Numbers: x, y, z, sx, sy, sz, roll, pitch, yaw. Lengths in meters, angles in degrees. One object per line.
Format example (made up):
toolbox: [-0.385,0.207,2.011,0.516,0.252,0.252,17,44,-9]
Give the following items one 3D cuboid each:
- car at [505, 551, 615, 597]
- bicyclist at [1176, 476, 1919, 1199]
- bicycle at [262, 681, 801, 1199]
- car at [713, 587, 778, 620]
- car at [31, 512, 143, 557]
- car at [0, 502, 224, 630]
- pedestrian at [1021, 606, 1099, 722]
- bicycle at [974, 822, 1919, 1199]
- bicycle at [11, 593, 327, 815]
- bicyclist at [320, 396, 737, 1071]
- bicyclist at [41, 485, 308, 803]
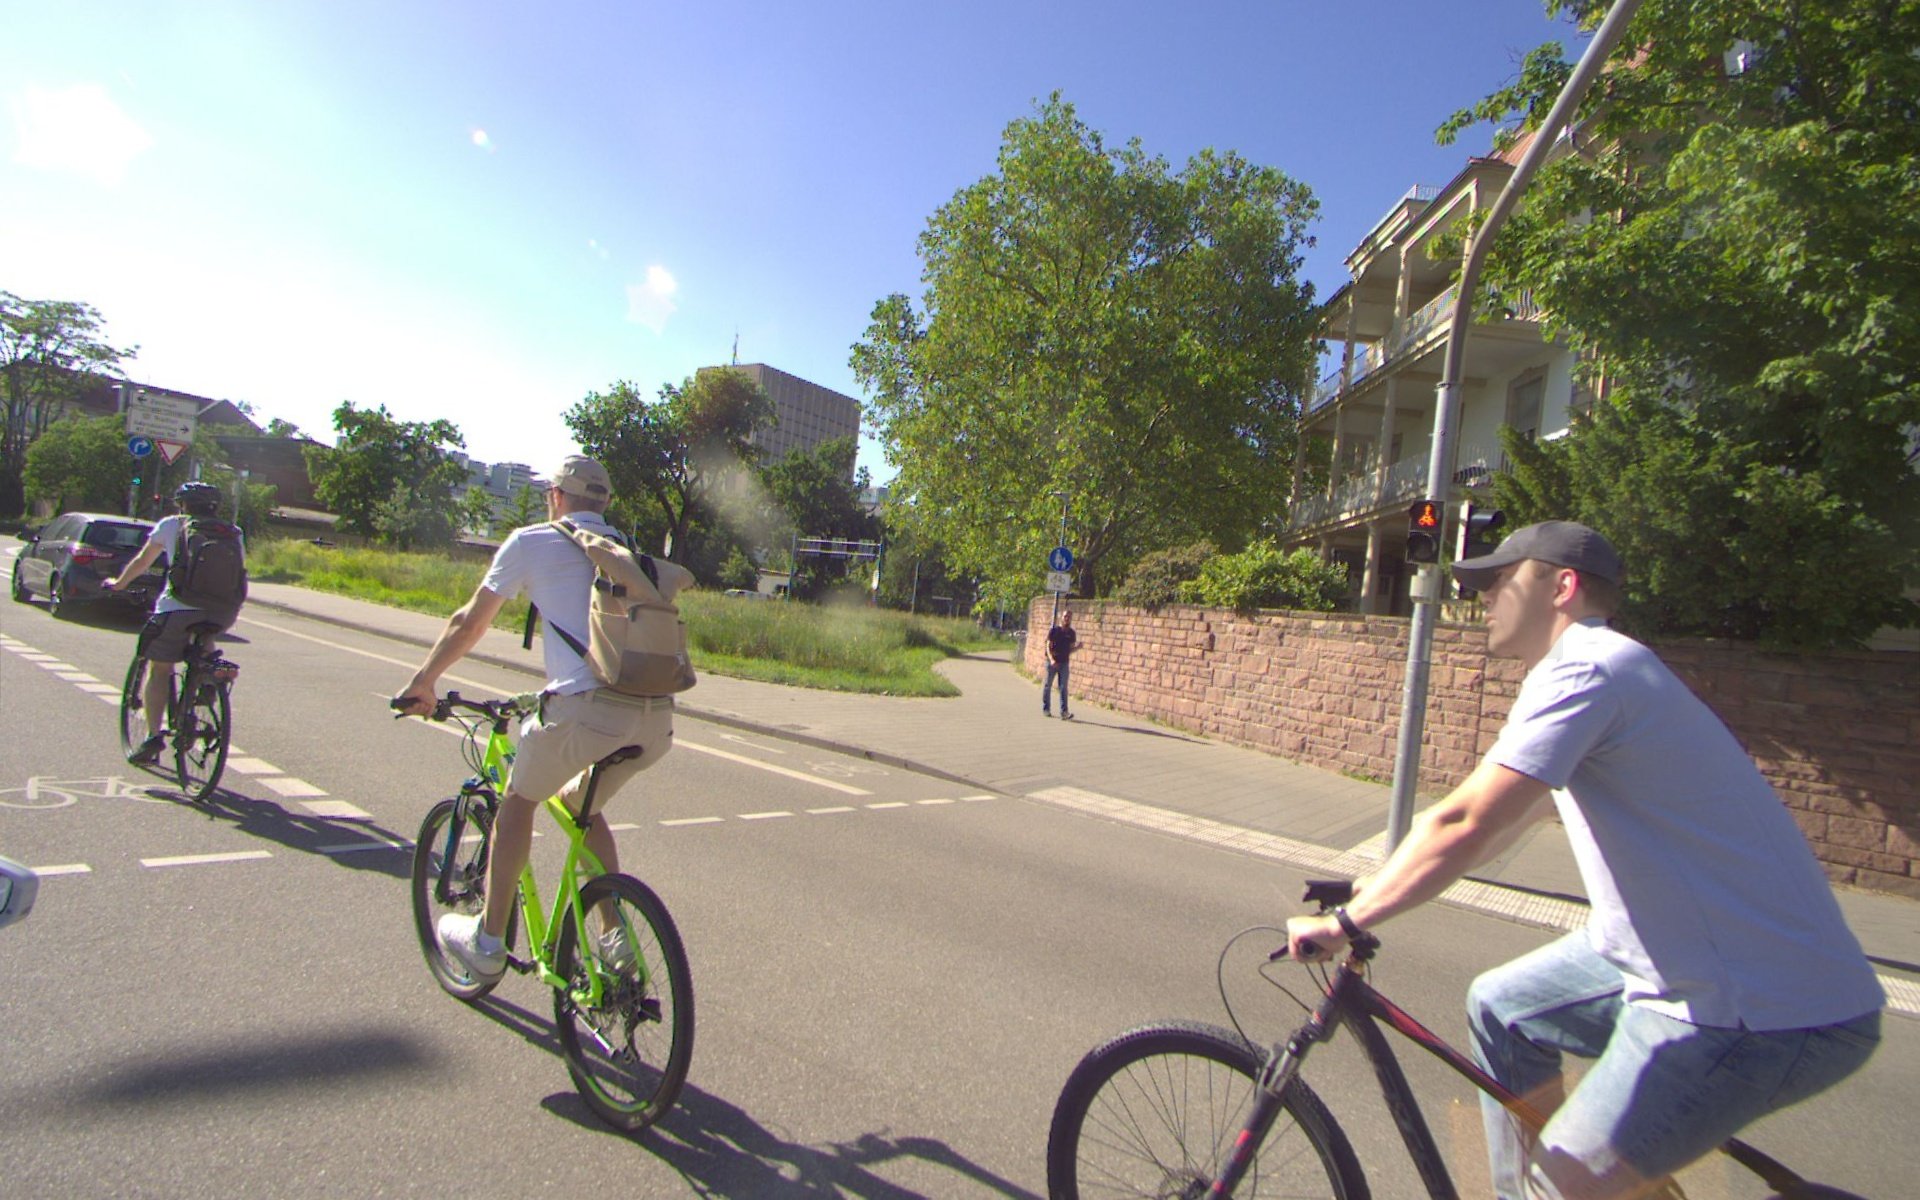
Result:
car: [-29.108,-1.861,73.454,2.044,2.452,7.148,6,-1,40]
bicyclist: [1.049,0.746,1.800,0.999,1.797,0.749,6,-1,38]
bicycle: [-1.450,0.941,3.200,1.861,1.060,0.662,9,2,38]
car: [-18.451,0.308,86.623,2.045,2.252,5.083,6,-1,42]
car: [-44.019,-3.251,50.814,4.101,1.604,1.858,8,-3,-42]
car: [-12.994,-0.537,15.314,3.603,1.559,1.757,5,-3,36]
pedestrian: [1.710,1.088,17.354,0.750,1.855,1.044,6,1,-23]
bicycle: [0.942,1.161,1.835,1.803,1.090,0.611,6,-1,38]
bicycle: [-4.664,0.564,5.902,1.851,0.971,0.724,6,-2,29]
bicyclist: [-1.375,0.333,3.181,0.990,1.769,0.663,7,1,37]
bicyclist: [-4.569,0.239,5.866,1.037,1.644,0.723,6,-1,29]
